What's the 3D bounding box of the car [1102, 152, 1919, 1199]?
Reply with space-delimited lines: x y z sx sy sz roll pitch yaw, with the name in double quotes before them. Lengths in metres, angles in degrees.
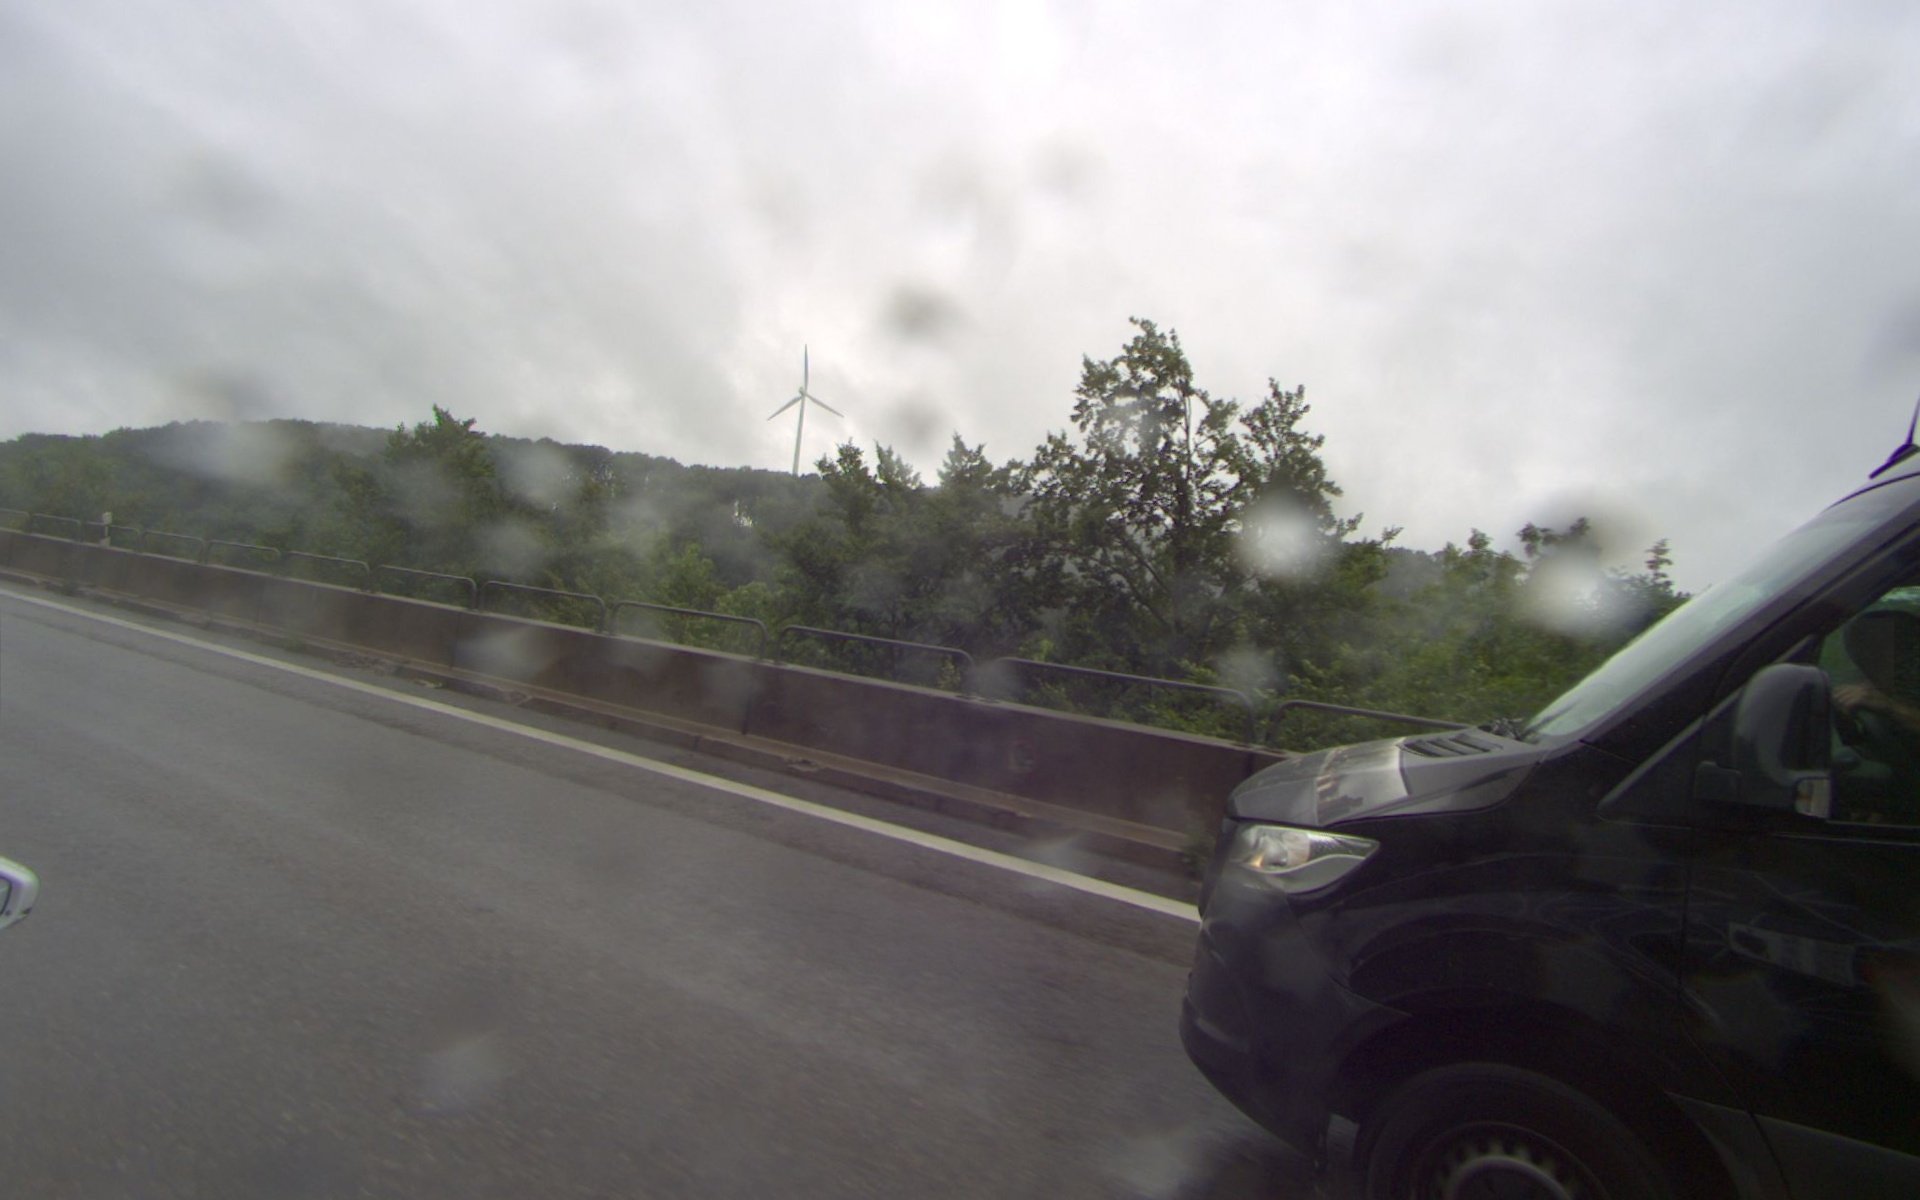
"car" 3.801 0.700 1.673 6.594 2.524 1.996 7 -1 32
